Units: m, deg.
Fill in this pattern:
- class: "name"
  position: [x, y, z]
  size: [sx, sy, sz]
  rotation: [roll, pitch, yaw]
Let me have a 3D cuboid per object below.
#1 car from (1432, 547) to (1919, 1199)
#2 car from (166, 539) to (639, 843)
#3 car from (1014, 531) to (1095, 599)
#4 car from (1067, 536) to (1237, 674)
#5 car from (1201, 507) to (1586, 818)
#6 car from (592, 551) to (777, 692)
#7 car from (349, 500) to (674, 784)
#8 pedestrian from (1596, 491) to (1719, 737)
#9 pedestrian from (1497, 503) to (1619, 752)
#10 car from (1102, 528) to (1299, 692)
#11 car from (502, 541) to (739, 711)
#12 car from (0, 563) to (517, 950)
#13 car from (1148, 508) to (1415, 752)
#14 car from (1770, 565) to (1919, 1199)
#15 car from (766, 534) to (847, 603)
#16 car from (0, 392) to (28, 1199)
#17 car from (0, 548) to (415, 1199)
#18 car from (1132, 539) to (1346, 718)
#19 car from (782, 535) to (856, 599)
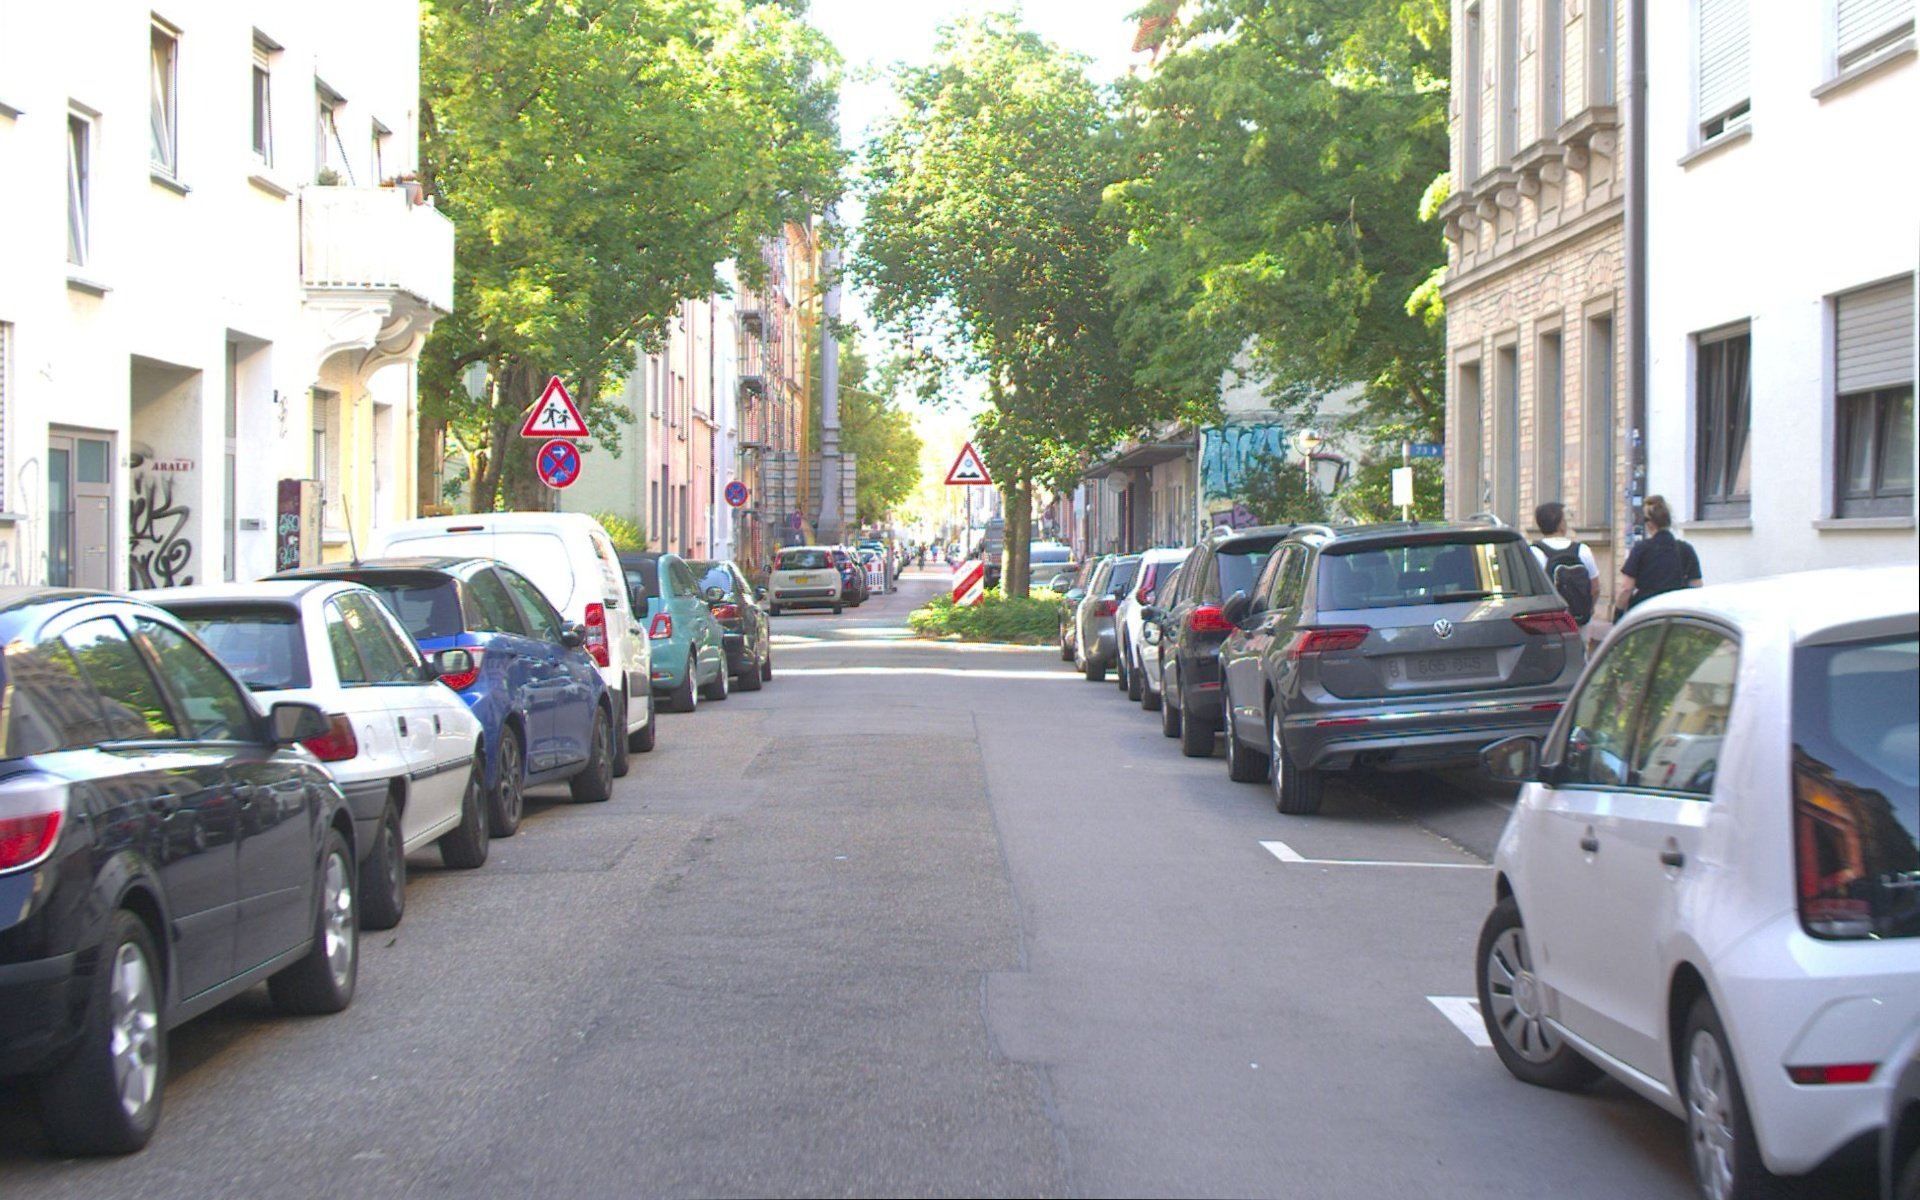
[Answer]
- class: "car"
  position: [2.367, 0.646, 8.828]
  size: [1.676, 1.501, 3.938]
  rotation: [-1, 1, -1]
- class: "car"
  position: [-3.018, 0.429, 19.412]
  size: [1.674, 1.481, 3.991]
  rotation: [-1, 1, 5]
- class: "car"
  position: [2.156, -0.822, 79.302]
  size: [1.676, 1.482, 3.638]
  rotation: [-1, 1, -1]
- class: "car"
  position: [2.206, 0.018, 40.470]
  size: [1.676, 1.482, 4.095]
  rotation: [-1, 1, -1]
- class: "car"
  position: [2.551, 0.312, 21.171]
  size: [1.676, 1.621, 4.251]
  rotation: [-4, 1, -1]
- class: "car"
  position: [-2.905, 0.193, 36.949]
  size: [1.670, 1.356, 4.049]
  rotation: [-1, 1, -1]
- class: "car"
  position: [-3.043, 0.224, 24.088]
  size: [1.765, 1.779, 4.039]
  rotation: [-1, 1, -1]
- class: "pedestrian"
  position: [4.775, 0.086, 23.564]
  size: [0.685, 1.654, 0.717]
  rotation: [0, 1, 0]
- class: "pedestrian"
  position: [4.045, 0.175, 23.288]
  size: [0.685, 1.654, 0.717]
  rotation: [0, 1, 0]
- class: "car"
  position: [2.434, 0.059, 35.565]
  size: [1.676, 1.556, 3.796]
  rotation: [-1, 1, -1]
- class: "car"
  position: [-3.174, 0.200, 32.821]
  size: [1.670, 1.464, 3.820]
  rotation: [-1, 1, 3]
- class: "car"
  position: [-3.054, 0.573, 15.109]
  size: [1.673, 1.383, 4.182]
  rotation: [-1, 1, 0]
- class: "car"
  position: [2.380, 0.199, 26.293]
  size: [1.676, 1.676, 4.094]
  rotation: [-1, 0, 1]
- class: "car"
  position: [2.374, 0.715, 4.363]
  size: [1.676, 1.501, 3.938]
  rotation: [-1, 1, -1]
- class: "car"
  position: [-3.465, -0.731, 78.143]
  size: [1.676, 1.482, 4.095]
  rotation: [-1, 1, -1]
- class: "car"
  position: [-2.817, 0.563, 4.569]
  size: [1.743, 1.805, 4.672]
  rotation: [-1, 1, 2]
- class: "car"
  position: [-2.889, 0.638, 10.095]
  size: [1.743, 1.501, 4.346]
  rotation: [-1, 1, 2]
- class: "car"
  position: [2.489, 0.214, 31.354]
  size: [1.566, 1.478, 3.619]
  rotation: [-1, 1, -1]
- class: "car"
  position: [-3.397, -0.822, 83.442]
  size: [1.676, 1.482, 4.095]
  rotation: [-1, 1, -1]
